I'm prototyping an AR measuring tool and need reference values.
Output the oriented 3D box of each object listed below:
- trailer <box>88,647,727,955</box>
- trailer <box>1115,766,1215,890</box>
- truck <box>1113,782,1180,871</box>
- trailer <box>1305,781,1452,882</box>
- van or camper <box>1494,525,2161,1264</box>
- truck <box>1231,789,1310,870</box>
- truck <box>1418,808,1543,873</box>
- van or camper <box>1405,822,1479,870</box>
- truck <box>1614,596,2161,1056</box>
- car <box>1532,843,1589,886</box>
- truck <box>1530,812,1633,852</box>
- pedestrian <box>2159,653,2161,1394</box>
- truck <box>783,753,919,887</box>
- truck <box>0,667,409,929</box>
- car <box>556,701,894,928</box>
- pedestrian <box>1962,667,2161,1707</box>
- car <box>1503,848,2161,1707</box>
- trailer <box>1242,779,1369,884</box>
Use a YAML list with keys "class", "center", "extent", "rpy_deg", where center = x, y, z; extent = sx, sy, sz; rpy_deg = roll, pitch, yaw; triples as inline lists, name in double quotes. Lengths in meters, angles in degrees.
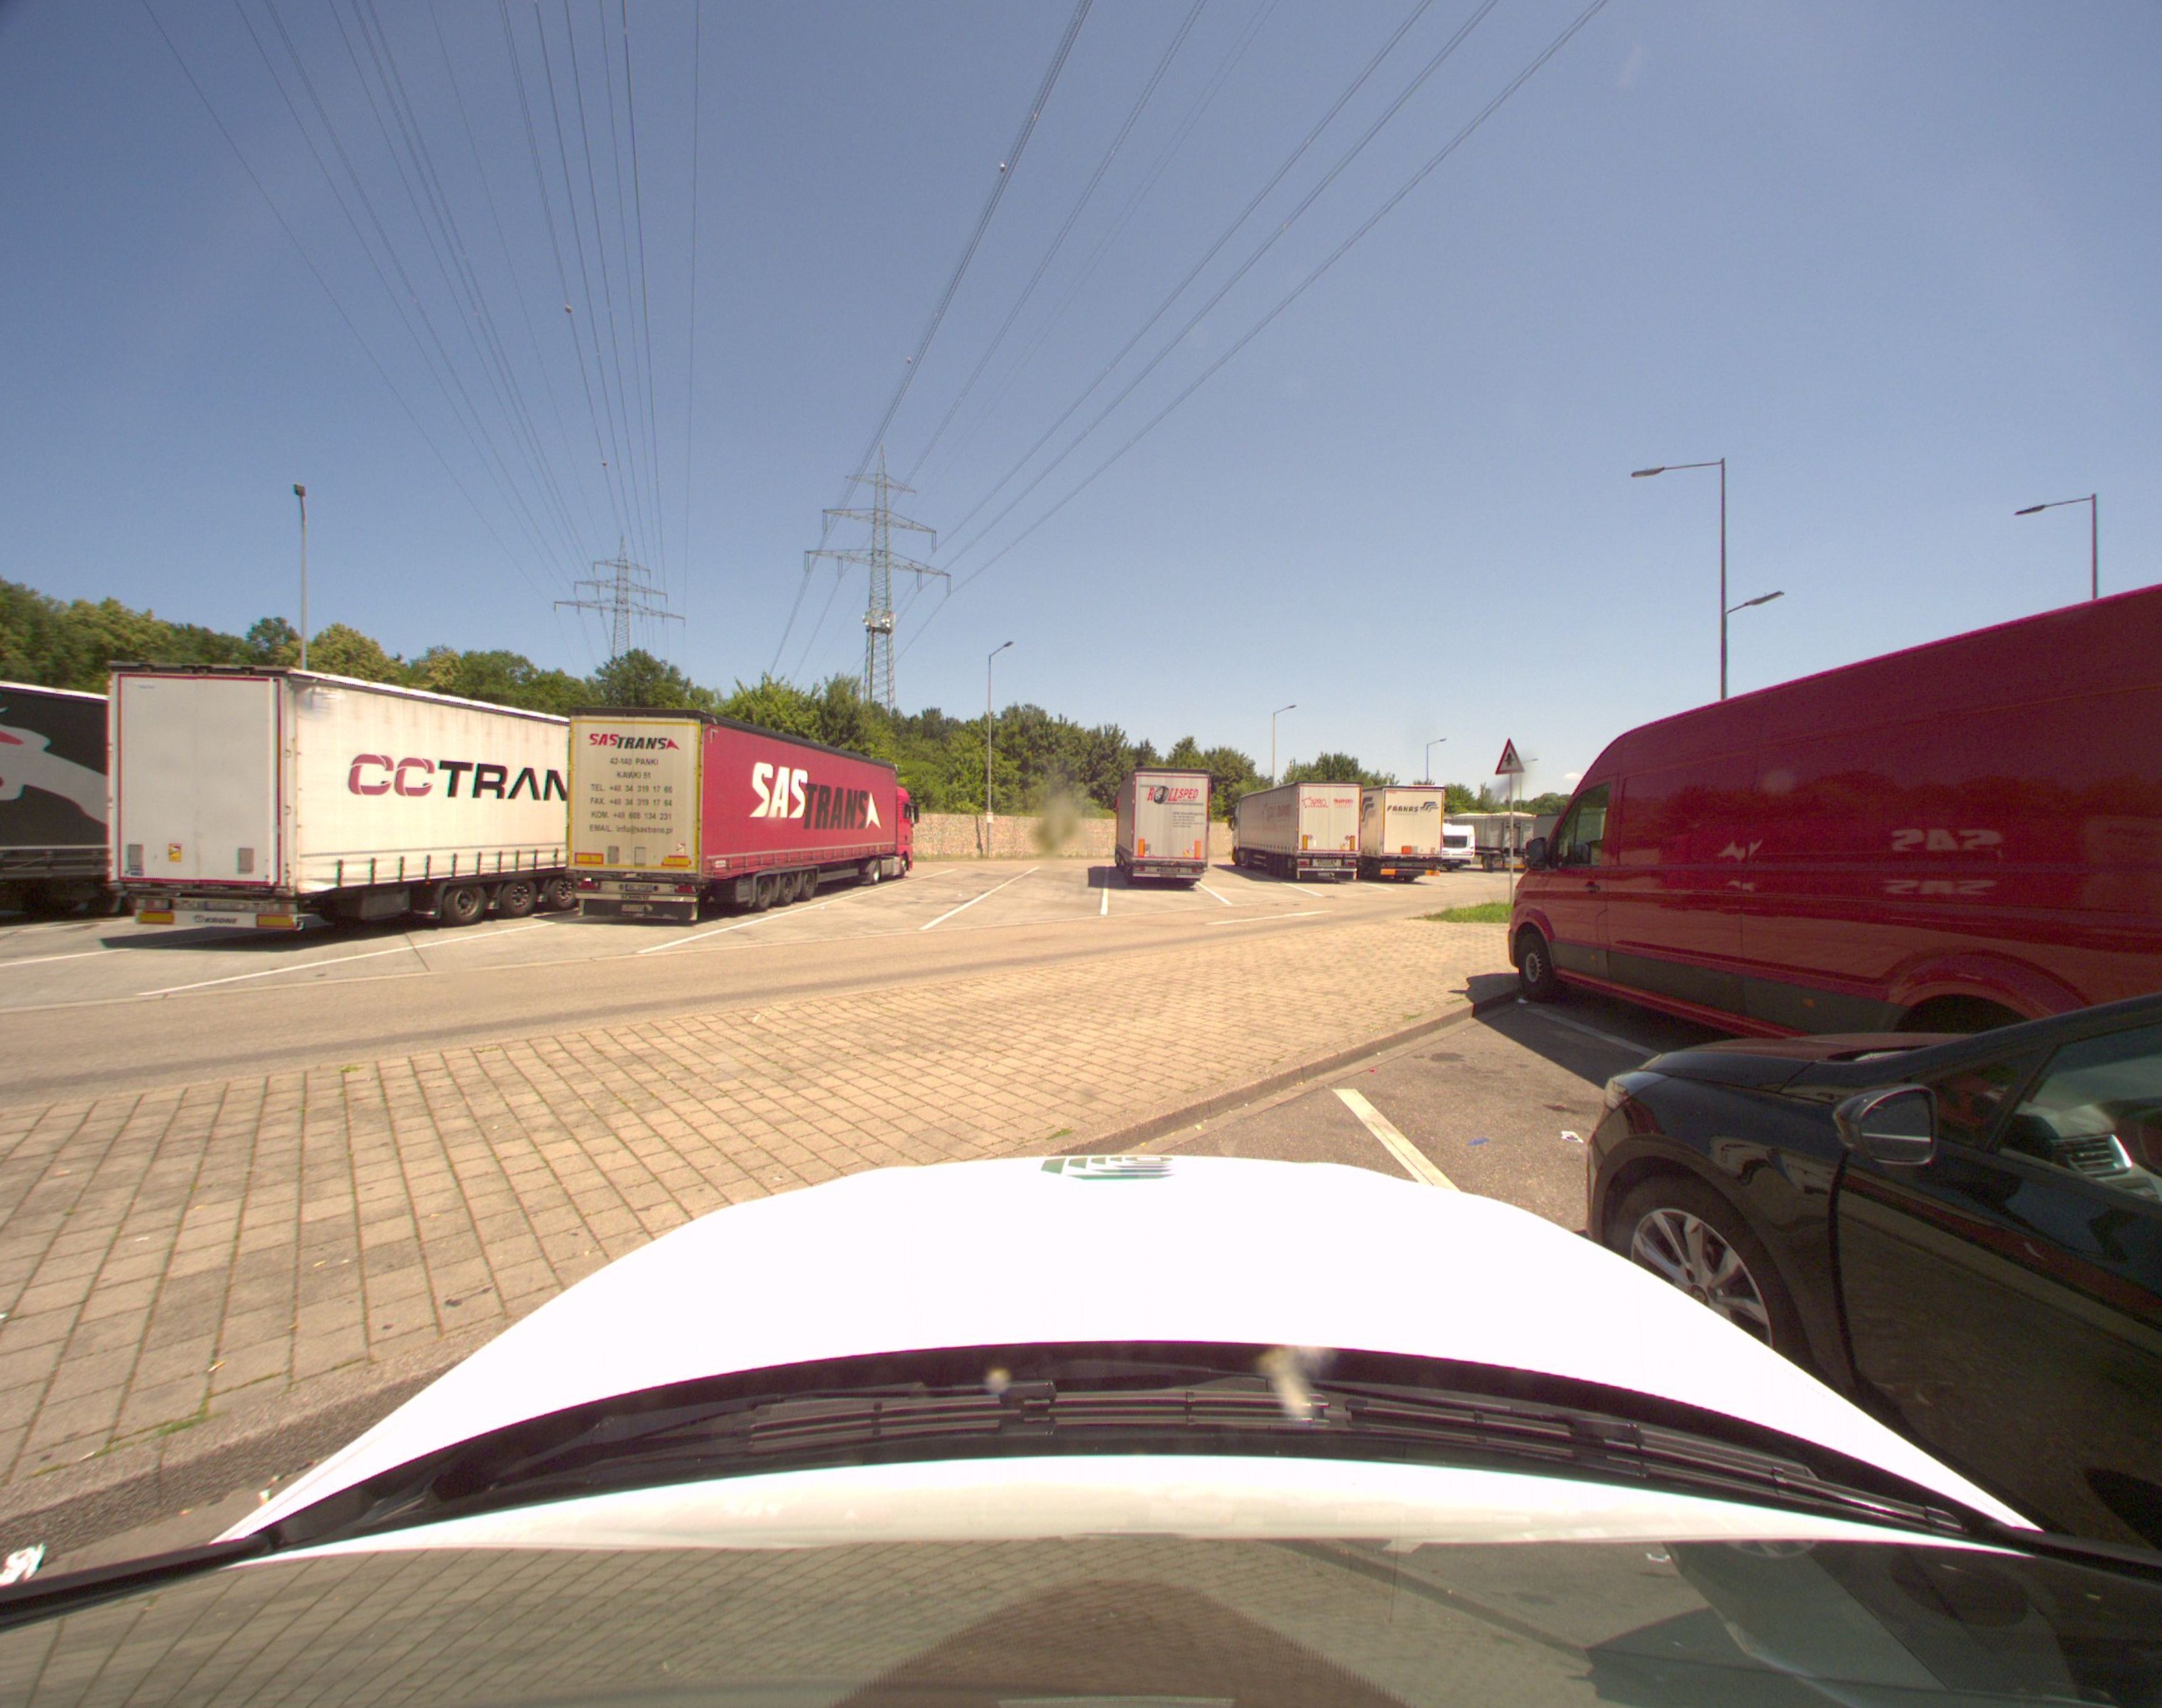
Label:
- class: "trailer"
  center: [-12.163, -0.977, 17.794]
  extent: [2.803, 4.266, 12.947]
  rpy_deg: [0, 2, 2]
- class: "trailer"
  center: [3.046, -1.106, 33.732]
  extent: [2.857, 4.037, 14.244]
  rpy_deg: [0, 2, 1]
- class: "truck"
  center: [3.140, -1.396, 40.820]
  extent: [2.857, 4.037, 7.029]
  rpy_deg: [0, 2, 1]
- class: "trailer"
  center: [13.643, -1.125, 38.879]
  extent: [2.855, 4.037, 12.445]
  rpy_deg: [0, 2, 2]
- class: "van or camper"
  center: [5.136, 0.100, 5.496]
  extent: [1.986, 2.654, 6.490]
  rpy_deg: [-1, 1, 6]
- class: "truck"
  center: [10.182, -1.370, 44.536]
  extent: [2.856, 4.037, 6.960]
  rpy_deg: [0, 2, 2]
- class: "truck"
  center: [24.303, -0.960, 50.501]
  extent: [2.478, 3.568, 11.429]
  rpy_deg: [0, 2, 2]
- class: "van or camper"
  center: [20.593, -0.468, 46.742]
  extent: [2.096, 2.561, 5.376]
  rpy_deg: [-1, 1, 3]
- class: "truck"
  center: [7.937, -0.211, 7.067]
  extent: [2.455, 2.792, 6.978]
  rpy_deg: [0, 1, 4]
- class: "car"
  center: [18.900, 0.374, 32.093]
  extent: [1.824, 1.561, 3.974]
  rpy_deg: [0, 1, 31]
- class: "truck"
  center: [38.038, -1.647, 62.378]
  extent: [2.117, 2.820, 9.783]
  rpy_deg: [-1, 1, 2]
- class: "pedestrian"
  center: [3.136, 0.433, 1.630]
  extent: [0.770, 1.872, 0.916]
  rpy_deg: [-1, 1, -4]
- class: "truck"
  center: [-7.749, -1.155, 28.354]
  extent: [2.686, 4.112, 6.243]
  rpy_deg: [1, 2, 2]
- class: "truck"
  center: [-18.619, -1.024, 16.275]
  extent: [2.803, 4.190, 8.793]
  rpy_deg: [0, 2, 2]
- class: "car"
  center: [-8.049, -0.936, 21.437]
  extent: [2.686, 4.112, 12.943]
  rpy_deg: [1, 2, 2]
- class: "pedestrian"
  center: [1.347, 0.617, 0.630]
  extent: [0.645, 1.586, 0.653]
  rpy_deg: [-1, 1, -5]
- class: "car"
  center: [2.452, 0.756, 1.144]
  extent: [1.612, 1.483, 3.762]
  rpy_deg: [-1, 1, -4]
- class: "trailer"
  center: [9.955, -1.106, 37.904]
  extent: [2.855, 4.037, 12.445]
  rpy_deg: [0, 2, 2]
